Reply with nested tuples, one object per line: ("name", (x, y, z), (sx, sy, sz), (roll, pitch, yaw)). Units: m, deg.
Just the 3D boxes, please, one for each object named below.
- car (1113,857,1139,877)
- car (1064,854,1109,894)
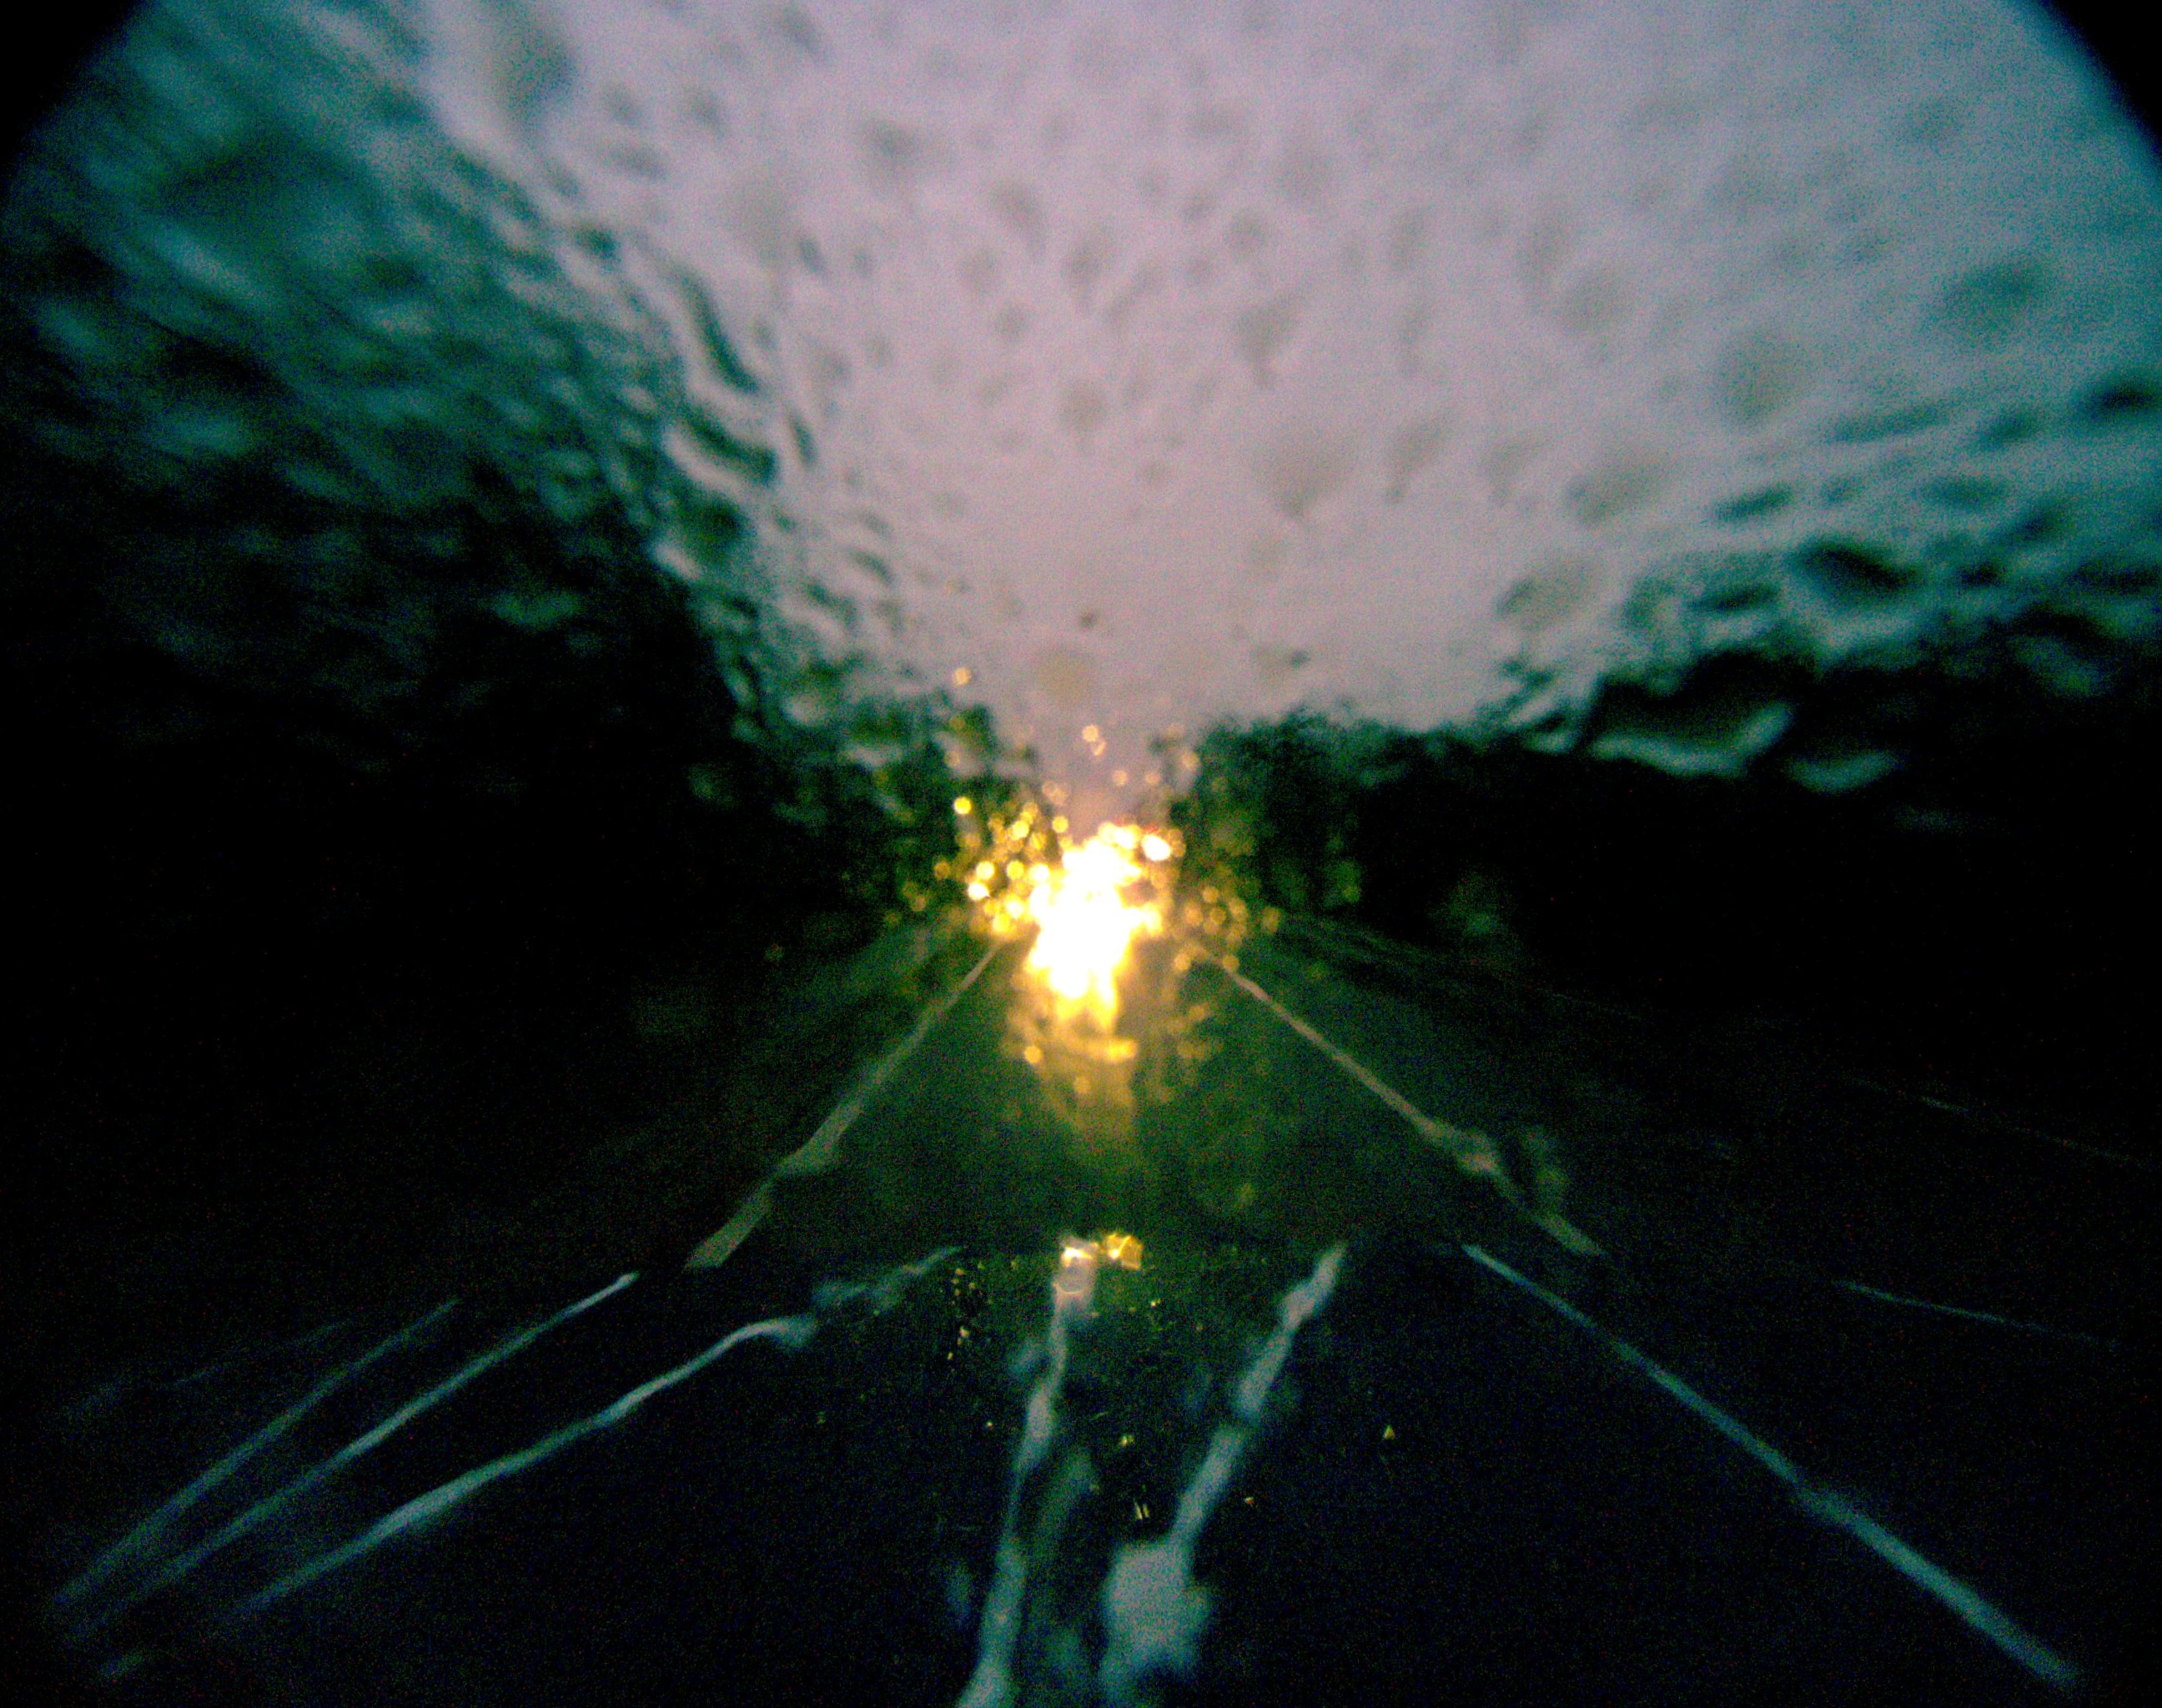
("car", (3.584, 1.032, 60.735), (1.809, 1.478, 4.000), (1, 0, 0))
("car", (0.239, 0.816, 33.403), (1.860, 1.604, 4.000), (-1, 0, 0))
